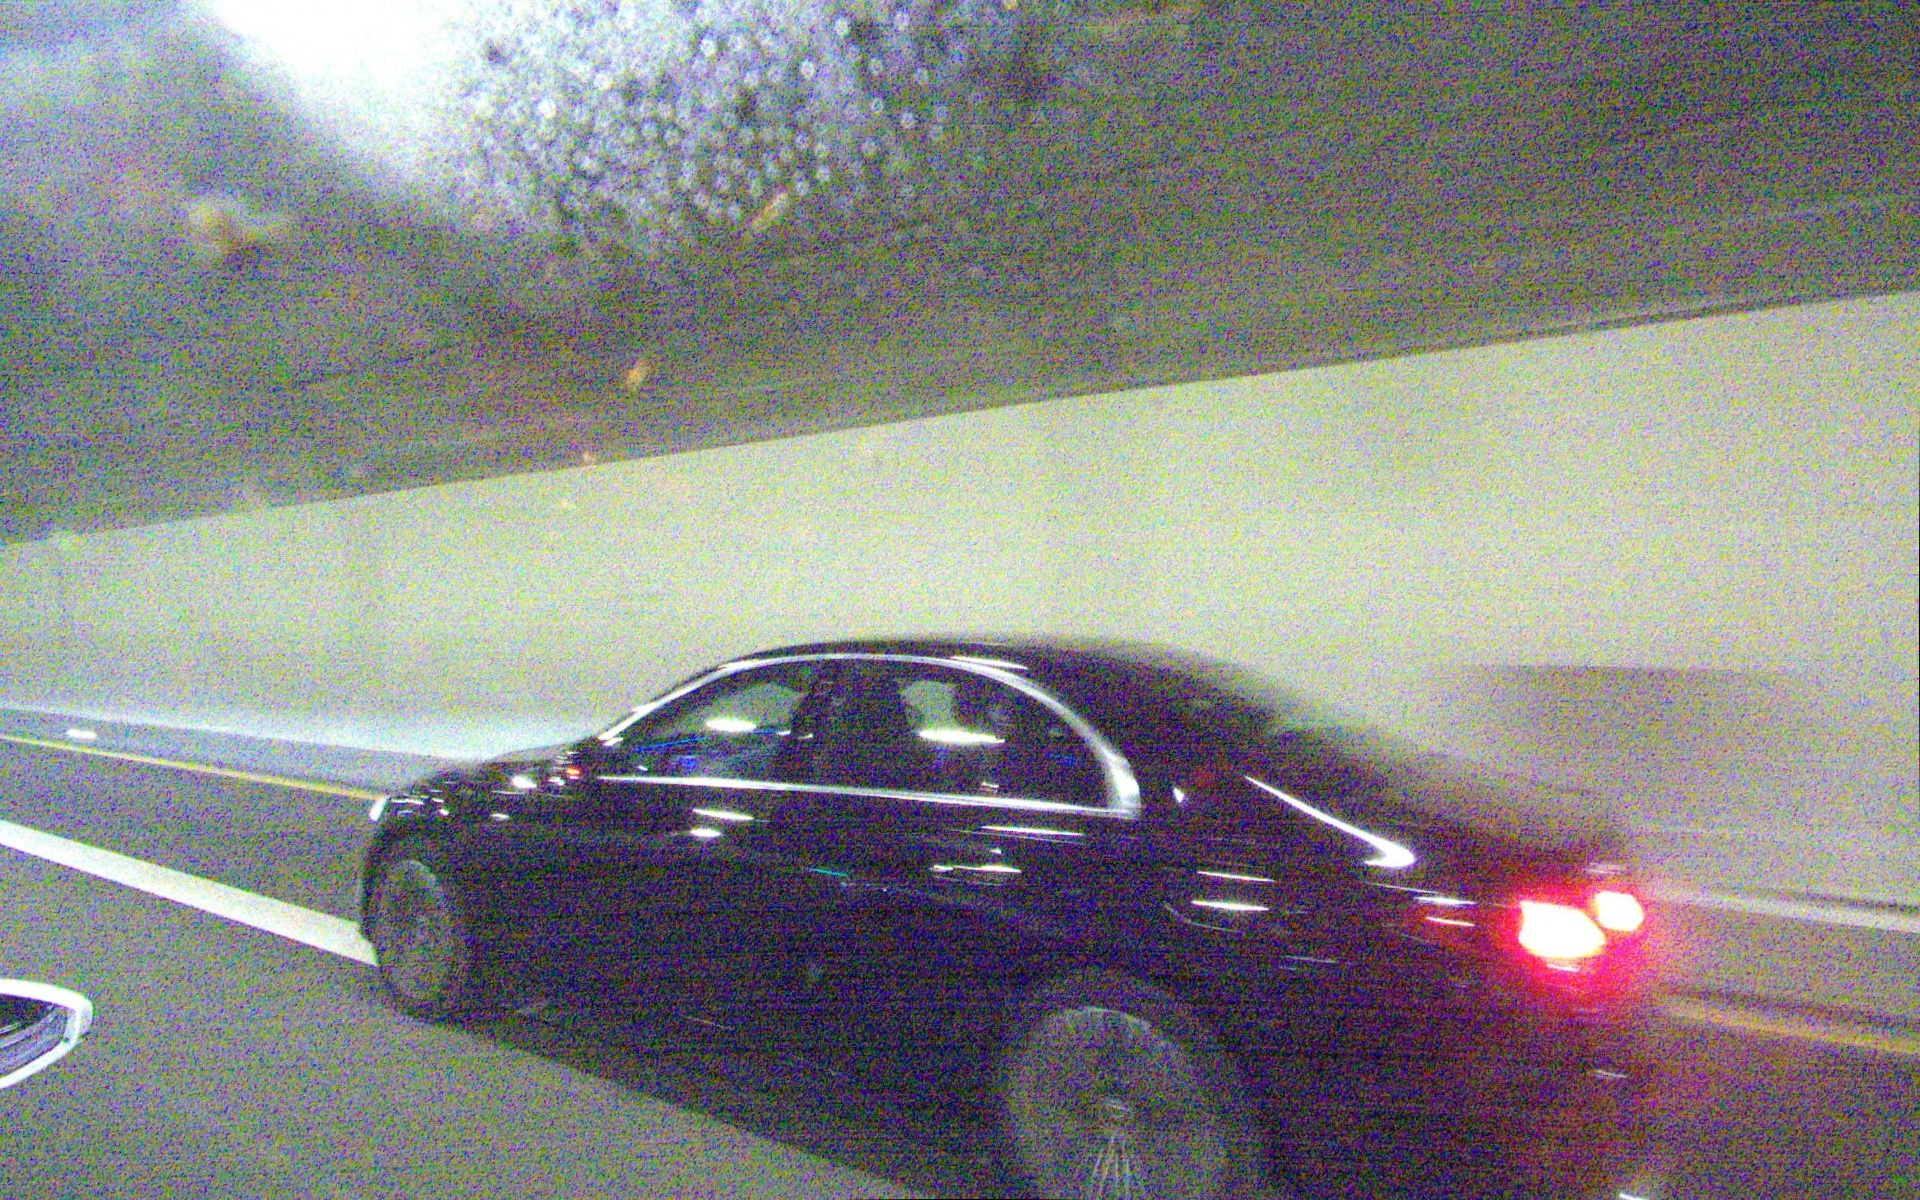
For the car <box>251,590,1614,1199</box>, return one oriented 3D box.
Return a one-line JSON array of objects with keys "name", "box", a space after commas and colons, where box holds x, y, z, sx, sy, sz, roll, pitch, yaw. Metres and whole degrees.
[{"name": "car", "box": [-0.466, 0.815, 3.798, 4.884, 1.491, 1.923, -1, -3, 33]}]
